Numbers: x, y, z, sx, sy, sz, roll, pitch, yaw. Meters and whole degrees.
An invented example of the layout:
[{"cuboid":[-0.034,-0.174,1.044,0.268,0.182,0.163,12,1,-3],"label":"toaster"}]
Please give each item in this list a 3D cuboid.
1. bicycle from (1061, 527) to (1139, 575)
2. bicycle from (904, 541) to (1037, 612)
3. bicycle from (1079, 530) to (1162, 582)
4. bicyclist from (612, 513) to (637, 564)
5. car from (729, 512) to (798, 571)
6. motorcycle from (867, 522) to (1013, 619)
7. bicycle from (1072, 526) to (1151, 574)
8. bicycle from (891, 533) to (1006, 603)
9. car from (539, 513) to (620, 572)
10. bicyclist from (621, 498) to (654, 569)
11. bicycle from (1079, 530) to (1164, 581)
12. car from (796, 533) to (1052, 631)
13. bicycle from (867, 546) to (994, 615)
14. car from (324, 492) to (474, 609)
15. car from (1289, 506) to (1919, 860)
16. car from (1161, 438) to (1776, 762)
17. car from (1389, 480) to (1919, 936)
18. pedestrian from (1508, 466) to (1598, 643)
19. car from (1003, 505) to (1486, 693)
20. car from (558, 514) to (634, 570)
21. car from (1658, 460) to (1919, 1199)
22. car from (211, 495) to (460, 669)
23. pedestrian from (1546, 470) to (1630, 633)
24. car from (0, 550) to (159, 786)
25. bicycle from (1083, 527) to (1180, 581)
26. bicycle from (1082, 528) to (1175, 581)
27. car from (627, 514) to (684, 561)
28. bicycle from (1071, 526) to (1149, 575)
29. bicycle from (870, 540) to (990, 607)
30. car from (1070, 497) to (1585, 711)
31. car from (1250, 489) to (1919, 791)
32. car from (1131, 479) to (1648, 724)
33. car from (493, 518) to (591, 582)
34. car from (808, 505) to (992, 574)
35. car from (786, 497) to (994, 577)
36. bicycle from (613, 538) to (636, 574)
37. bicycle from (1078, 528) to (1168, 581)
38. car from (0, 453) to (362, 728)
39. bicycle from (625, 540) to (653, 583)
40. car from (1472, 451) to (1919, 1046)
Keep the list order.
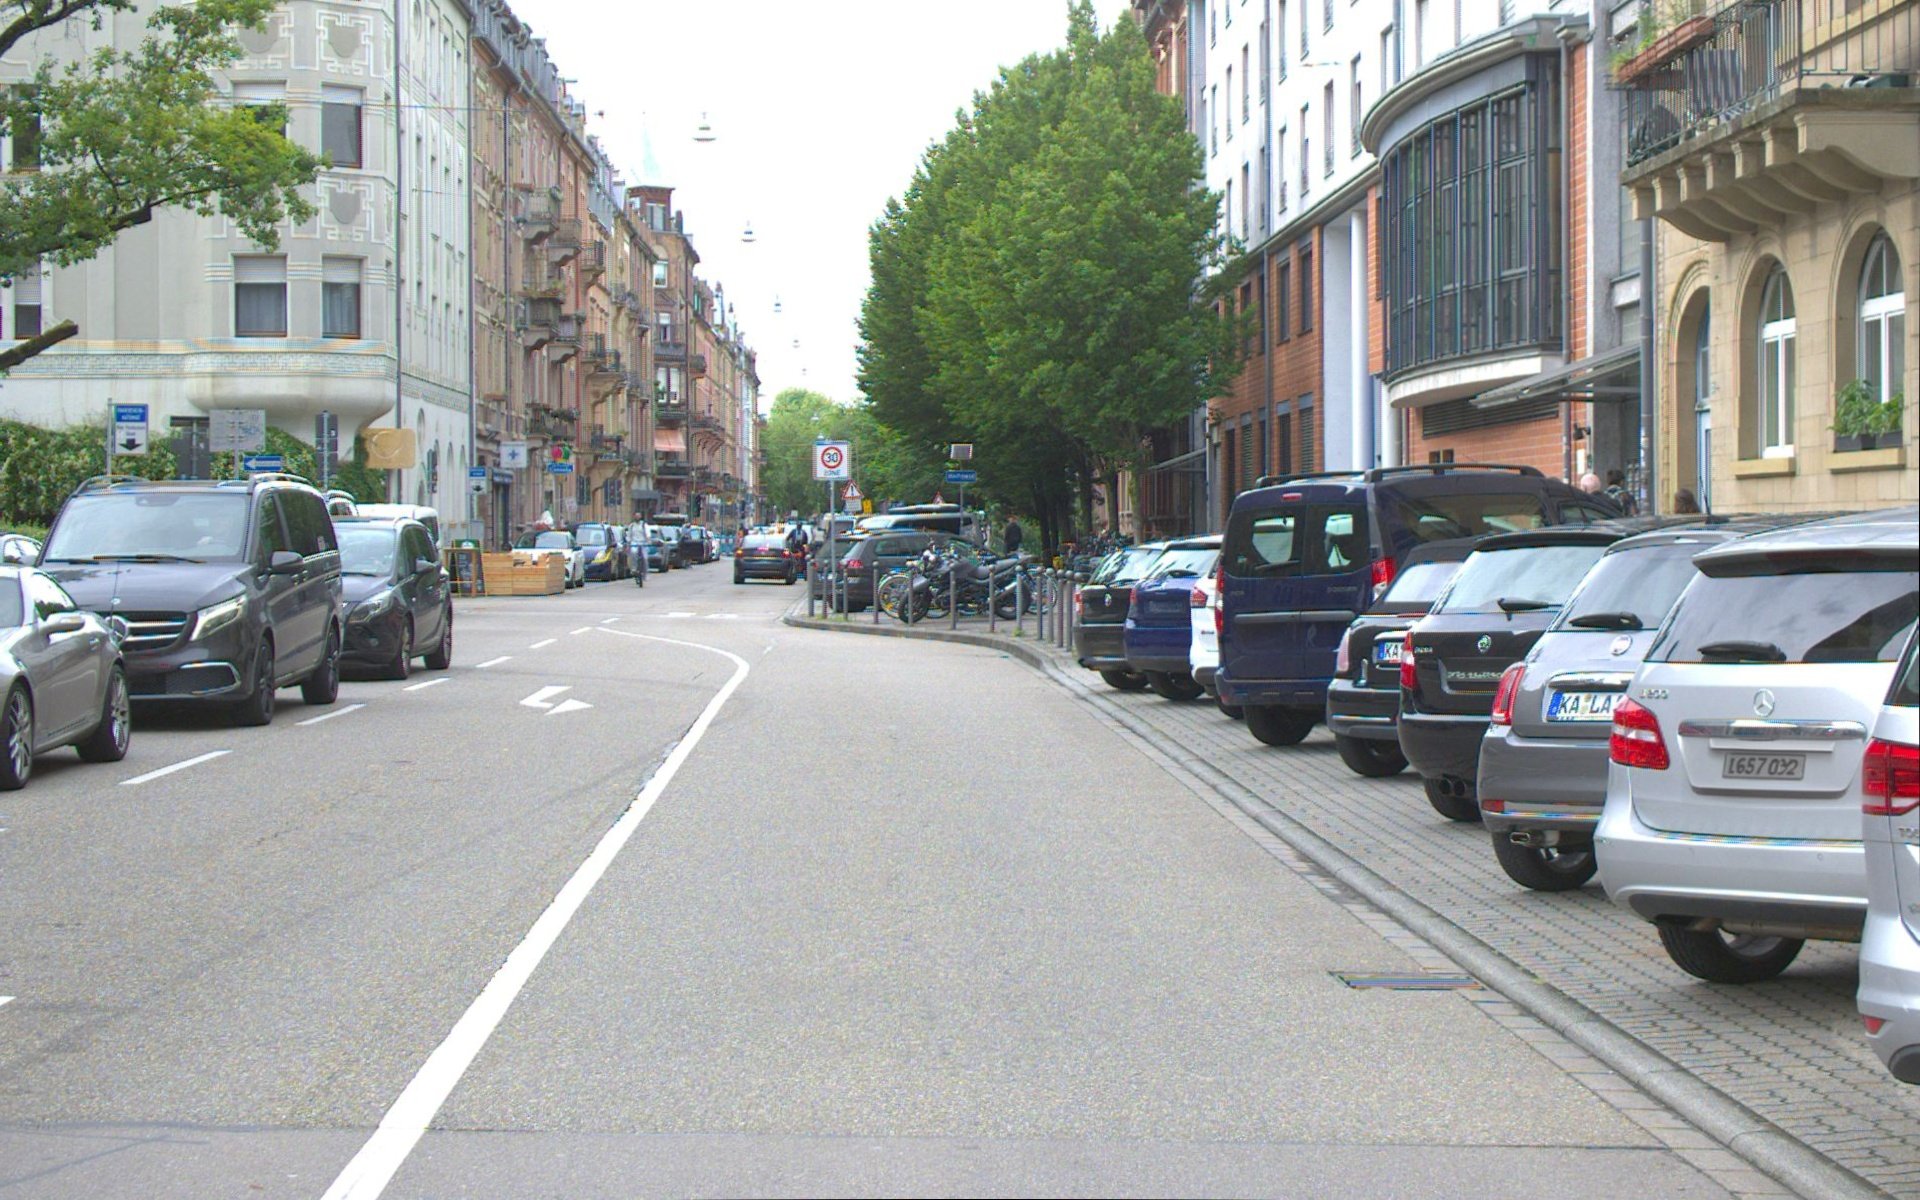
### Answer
[{"cuboid":[3.216,-1.133,79.249,1.752,1.088,0.565,0,0,-2],"label":"bicycle"},{"cuboid":[0.157,-0.367,53.389,2.008,1.059,0.612,-1,0,-5],"label":"bicycle"},{"cuboid":[3.458,-0.949,74.282,1.752,1.088,0.565,0,0,-2],"label":"bicycle"},{"cuboid":[-9.302,-1.710,95.386,0.668,1.394,0.783,0,0,-4],"label":"bicyclist"},{"cuboid":[-5.806,-1.717,101.775,1.993,1.675,4.000,0,0,-3],"label":"car"},{"cuboid":[-0.315,-0.445,52.272,2.133,1.424,0.771,-1,0,-5],"label":"motorcycle"},{"cuboid":[3.423,-1.130,77.741,1.752,1.088,0.565,0,0,-2],"label":"bicycle"},{"cuboid":[-0.200,-0.532,57.907,1.883,1.137,0.612,-1,0,-5],"label":"bicycle"},{"cuboid":[-10.867,-1.643,98.405,1.944,1.611,3.943,1,1,-2],"label":"car"},{"cuboid":[-8.512,-1.757,90.767,0.782,1.860,0.714,0,1,0],"label":"bicyclist"},{"cuboid":[3.449,-0.946,73.498,1.752,1.088,0.565,0,0,-2],"label":"bicycle"},{"cuboid":[-0.628,-0.344,62.211,4.274,1.573,1.863,-3,2,-35],"label":"car"},{"cuboid":[-0.469,-0.310,54.159,1.929,1.040,0.612,-1,0,-5],"label":"bicycle"},{"cuboid":[-9.697,-0.889,59.743,1.843,1.933,4.548,0,1,0],"label":"car"},{"cuboid":[3.936,0.323,17.690,4.453,1.547,1.851,-3,2,-40],"label":"car"},{"cuboid":[3.590,-0.068,23.792,4.271,1.900,1.879,-5,4,-43],"label":"car"},{"cuboid":[4.033,0.311,14.707,4.453,1.568,1.746,-5,3,-40],"label":"car"},{"cuboid":[6.004,-0.465,34.841,0.629,1.747,0.812,-3,1,-5],"label":"pedestrian"},{"cuboid":[2.717,-0.054,32.677,4.246,1.473,1.685,-4,3,-26],"label":"car"},{"cuboid":[-10.978,-1.749,103.877,1.944,1.611,3.943,1,1,-2],"label":"car"},{"cuboid":[3.889,0.460,8.285,4.212,1.676,1.916,-3,1,-35],"label":"car"},{"cuboid":[-6.376,-0.238,35.566,1.845,1.678,4.549,0,2,-1],"label":"car"},{"cuboid":[5.947,-0.453,32.559,0.561,1.524,0.553,0,0,-44],"label":"pedestrian"},{"cuboid":[-6.100,0.375,20.470,1.704,1.282,4.042,-2,1,-1],"label":"car"},{"cuboid":[3.518,-0.941,70.659,1.933,1.088,0.577,0,0,-2],"label":"bicycle"},{"cuboid":[3.493,-0.941,71.265,1.895,1.088,0.543,0,0,-2],"label":"bicycle"},{"cuboid":[-11.666,-2.385,131.955,1.944,1.736,3.943,1,1,-2],"label":"car"},{"cuboid":[3.421,-1.131,78.487,1.752,1.088,0.565,0,0,-2],"label":"bicycle"},{"cuboid":[-0.491,-0.421,55.652,1.883,1.040,0.612,-1,0,-5],"label":"bicycle"},{"cuboid":[3.184,-0.015,29.632,3.987,1.528,1.932,-4,3,-30],"label":"car"},{"cuboid":[3.970,0.190,20.957,4.060,1.448,2.031,-6,3,-40],"label":"car"},{"cuboid":[3.416,-0.039,26.925,3.989,1.596,1.765,-5,4,-41],"label":"car"},{"cuboid":[-10.584,-1.266,87.322,1.944,1.548,3.817,-1,1,1],"label":"car"},{"cuboid":[-1.794,-1.834,103.831,5.387,1.985,1.950,-2,1,-35],"label":"car"},{"cuboid":[-1.918,-1.766,95.626,5.608,2.120,1.950,-2,1,-35],"label":"car"},{"cuboid":[-9.301,-1.224,95.411,0.535,0.974,1.865,0,0,-2],"label":"bicycle"},{"cuboid":[3.411,-0.947,72.072,1.836,1.088,0.543,0,0,-2],"label":"bicycle"},{"cuboid":[-6.074,-0.138,27.075,1.912,1.948,5.284,0,2,-1],"label":"car"},{"cuboid":[-8.459,-1.021,90.600,0.567,1.084,1.987,0,1,0],"label":"bicycle"},{"cuboid":[4.139,0.320,11.698,4.738,1.679,1.936,-3,1,-38],"label":"car"}]
